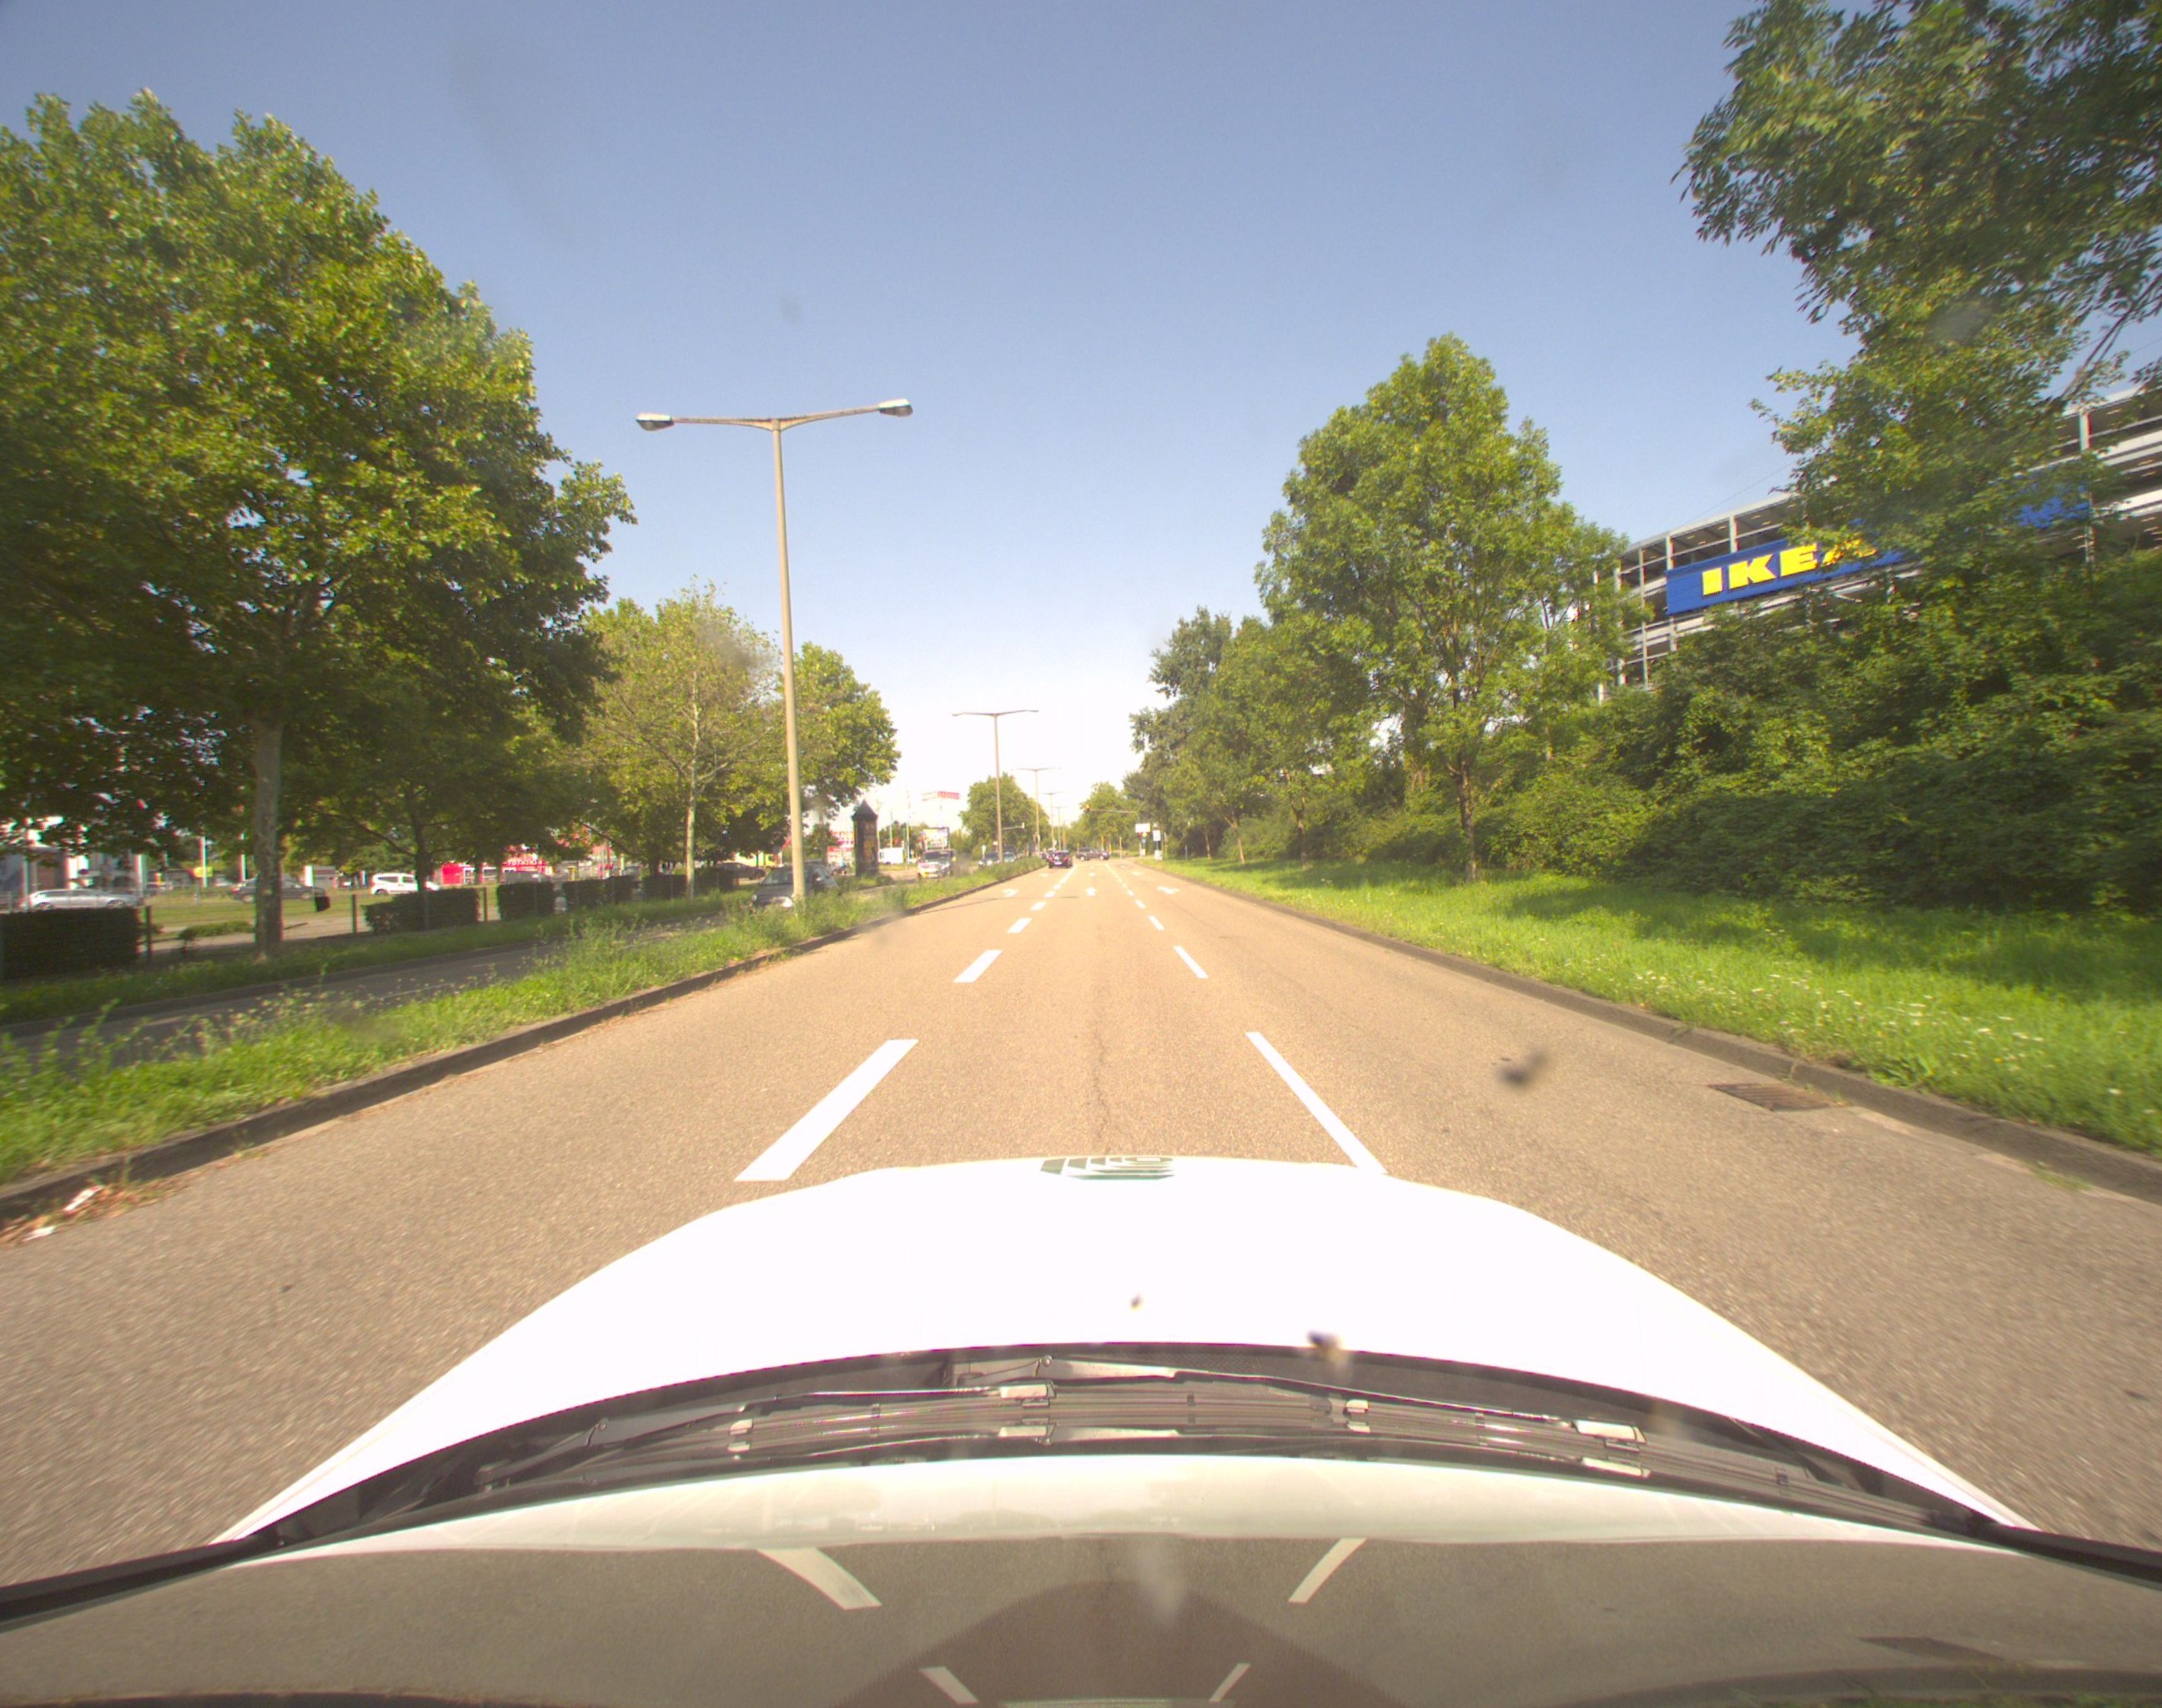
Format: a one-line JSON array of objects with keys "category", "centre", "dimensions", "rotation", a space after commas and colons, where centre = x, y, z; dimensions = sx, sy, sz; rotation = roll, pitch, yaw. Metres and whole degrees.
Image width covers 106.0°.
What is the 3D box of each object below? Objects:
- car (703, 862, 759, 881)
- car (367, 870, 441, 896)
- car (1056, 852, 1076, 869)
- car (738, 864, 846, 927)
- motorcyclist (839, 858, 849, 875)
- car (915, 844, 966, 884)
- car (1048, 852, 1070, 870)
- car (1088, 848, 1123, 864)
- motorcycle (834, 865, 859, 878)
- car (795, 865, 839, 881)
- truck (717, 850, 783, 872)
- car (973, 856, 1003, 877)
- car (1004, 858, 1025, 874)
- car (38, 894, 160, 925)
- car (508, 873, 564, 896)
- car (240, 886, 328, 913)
[{"category": "car", "centre": [-31.213, 1.547, 72.607], "dimensions": [4.331, 1.579, 1.554], "rotation": [-1, 0, -37]}, {"category": "car", "centre": [-49.370, 2.088, 59.517], "dimensions": [4.018, 1.679, 1.850], "rotation": [-1, 0, -36]}, {"category": "car", "centre": [-1.386, 0.584, 77.183], "dimensions": [1.686, 1.486, 4.000], "rotation": [-3, 0, 1]}, {"category": "car", "centre": [-7.826, 1.071, 22.349], "dimensions": [1.671, 1.486, 3.492], "rotation": [-2, 0, 0]}, {"category": "motorcyclist", "centre": [-22.318, 1.187, 76.792], "dimensions": [0.686, 1.572, 0.676], "rotation": [-1, 0, -35]}, {"category": "car", "centre": [-7.755, 0.548, 45.440], "dimensions": [1.926, 2.027, 4.566], "rotation": [-3, 0, 0]}, {"category": "car", "centre": [-1.898, 0.596, 70.757], "dimensions": [1.686, 1.486, 4.000], "rotation": [-3, 0, 1]}, {"category": "car", "centre": [3.242, 0.249, 108.947], "dimensions": [4.227, 1.836, 1.924], "rotation": [-3, 0, 25]}, {"category": "motorcycle", "centre": [-22.154, 1.640, 76.893], "dimensions": [2.085, 1.136, 0.670], "rotation": [-2, -1, -35]}, {"category": "car", "centre": [-25.262, 1.807, 77.949], "dimensions": [3.719, 1.443, 1.451], "rotation": [-1, 0, -36]}, {"category": "truck", "centre": [-52.241, 1.054, 128.701], "dimensions": [9.053, 2.957, 3.476], "rotation": [-3, 0, -35]}, {"category": "car", "centre": [-7.769, 1.035, 68.524], "dimensions": [1.987, 1.706, 4.503], "rotation": [-2, 0, -1]}, {"category": "car", "centre": [-7.017, 1.255, 86.386], "dimensions": [1.767, 1.574, 4.001], "rotation": [-2, 0, 1]}, {"category": "car", "centre": [-62.061, 3.453, 51.593], "dimensions": [4.613, 1.545, 1.849], "rotation": [-3, 0, -39]}, {"category": "car", "centre": [-42.735, 2.362, 63.867], "dimensions": [3.507, 1.580, 1.708], "rotation": [-3, 0, -36]}, {"category": "car", "centre": [-55.024, 3.136, 56.334], "dimensions": [4.017, 1.545, 1.820], "rotation": [-3, 0, -35]}]
